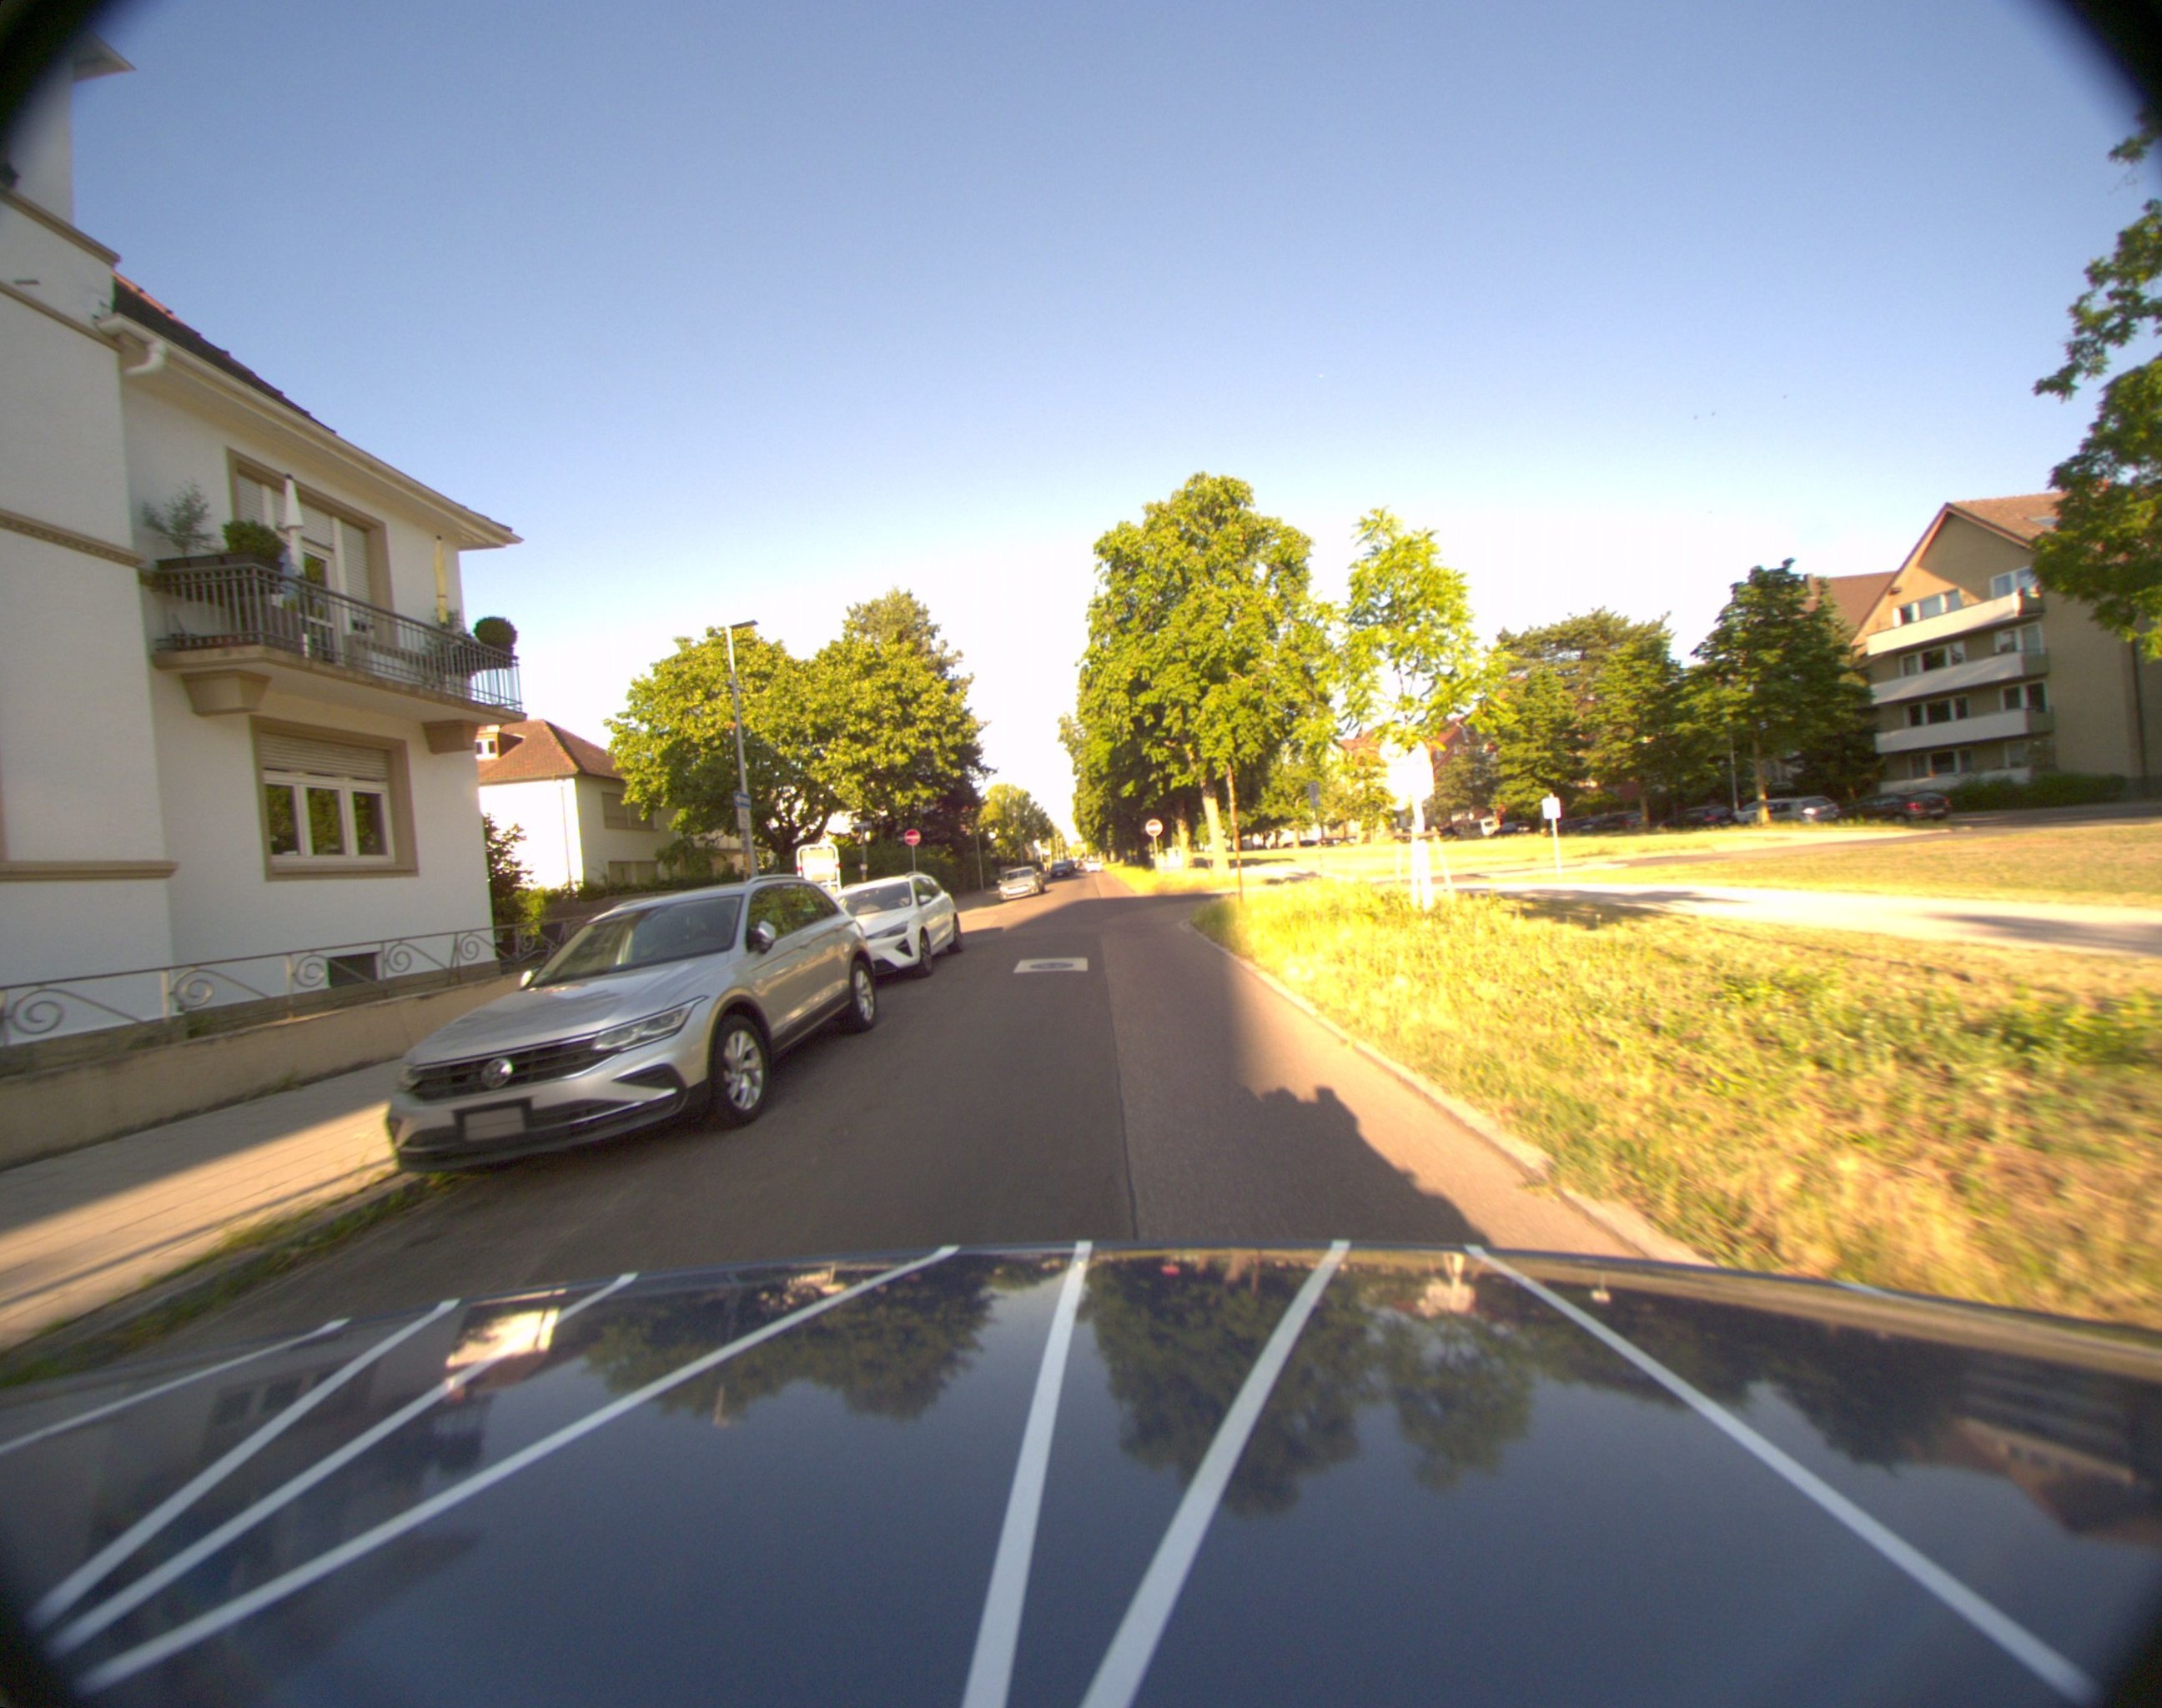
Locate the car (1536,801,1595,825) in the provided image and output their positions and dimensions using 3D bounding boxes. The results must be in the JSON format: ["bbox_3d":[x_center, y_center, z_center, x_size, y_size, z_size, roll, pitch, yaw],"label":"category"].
[{"bbox_3d":[34.045,-2.863,53.495,1.560,1.323,3.642,-5,-1,-3],"label":"car"}]

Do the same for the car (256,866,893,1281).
[{"bbox_3d":[-3.085,1.142,6.093,1.806,1.639,4.583,-10,1,0],"label":"car"}]

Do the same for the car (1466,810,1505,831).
[{"bbox_3d":[40.852,-3.338,76.882,1.998,2.002,4.000,1,2,3],"label":"car"}]

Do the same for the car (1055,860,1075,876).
[{"bbox_3d":[-1.794,1.592,87.435,1.998,1.624,4.001,-5,-1,2],"label":"car"}]

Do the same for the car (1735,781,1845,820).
[{"bbox_3d":[34.063,-2.532,36.657,1.692,1.399,3.642,-5,-1,-3],"label":"car"}]

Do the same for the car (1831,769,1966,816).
[{"bbox_3d":[34.423,-2.556,32.153,1.894,1.513,3.681,-5,0,7],"label":"car"}]

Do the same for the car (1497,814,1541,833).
[{"bbox_3d":[40.777,-2.843,70.813,1.998,1.596,4.000,-2,1,3],"label":"car"}]

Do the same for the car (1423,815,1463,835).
[{"bbox_3d":[34.745,-2.748,72.978,1.998,1.833,4.000,-2,1,2],"label":"car"}]

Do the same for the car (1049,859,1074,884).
[{"bbox_3d":[-1.848,1.621,72.362,1.998,2.179,4.001,-5,-1,2],"label":"car"}]

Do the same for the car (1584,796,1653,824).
[{"bbox_3d":[34.159,-2.773,48.369,1.560,1.407,3.642,-5,-1,-3],"label":"car"}]

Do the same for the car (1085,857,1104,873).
[{"bbox_3d":[1.485,1.192,84.135,1.998,1.483,3.999,-2,1,1],"label":"car"}]

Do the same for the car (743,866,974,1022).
[{"bbox_3d":[-3.163,1.183,11.969,1.880,1.525,4.589,-11,1,2],"label":"car"}]

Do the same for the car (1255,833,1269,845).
[{"bbox_3d":[36.065,-3.007,151.355,1.998,2.001,4.001,-5,-1,3],"label":"car"}]

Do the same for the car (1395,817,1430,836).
[{"bbox_3d":[34.772,-2.873,79.752,1.998,1.833,4.000,-2,1,2],"label":"car"}]

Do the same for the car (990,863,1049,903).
[{"bbox_3d":[-2.768,1.288,35.233,2.111,1.396,4.132,-10,0,1],"label":"car"}]

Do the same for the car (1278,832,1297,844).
[{"bbox_3d":[35.654,-2.794,131.126,2.125,2.002,3.999,-2,1,-1],"label":"car"}]

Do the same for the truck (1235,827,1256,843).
[{"bbox_3d":[36.136,-4.134,167.045,2.785,3.128,7.709,-6,0,0],"label":"truck"}]

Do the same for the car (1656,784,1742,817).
[{"bbox_3d":[34.155,-2.926,42.087,1.560,1.360,3.642,-5,-1,-3],"label":"car"}]

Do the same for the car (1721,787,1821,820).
[{"bbox_3d":[40.199,-2.906,44.413,1.999,1.490,3.999,-5,-1,-4],"label":"car"}]

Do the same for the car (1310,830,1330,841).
[{"bbox_3d":[40.688,-3.122,129.502,1.999,1.872,3.998,-2,1,-2],"label":"car"}]

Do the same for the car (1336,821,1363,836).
[{"bbox_3d":[35.307,-3.339,99.989,1.998,1.692,4.001,-5,-1,1],"label":"car"}]
